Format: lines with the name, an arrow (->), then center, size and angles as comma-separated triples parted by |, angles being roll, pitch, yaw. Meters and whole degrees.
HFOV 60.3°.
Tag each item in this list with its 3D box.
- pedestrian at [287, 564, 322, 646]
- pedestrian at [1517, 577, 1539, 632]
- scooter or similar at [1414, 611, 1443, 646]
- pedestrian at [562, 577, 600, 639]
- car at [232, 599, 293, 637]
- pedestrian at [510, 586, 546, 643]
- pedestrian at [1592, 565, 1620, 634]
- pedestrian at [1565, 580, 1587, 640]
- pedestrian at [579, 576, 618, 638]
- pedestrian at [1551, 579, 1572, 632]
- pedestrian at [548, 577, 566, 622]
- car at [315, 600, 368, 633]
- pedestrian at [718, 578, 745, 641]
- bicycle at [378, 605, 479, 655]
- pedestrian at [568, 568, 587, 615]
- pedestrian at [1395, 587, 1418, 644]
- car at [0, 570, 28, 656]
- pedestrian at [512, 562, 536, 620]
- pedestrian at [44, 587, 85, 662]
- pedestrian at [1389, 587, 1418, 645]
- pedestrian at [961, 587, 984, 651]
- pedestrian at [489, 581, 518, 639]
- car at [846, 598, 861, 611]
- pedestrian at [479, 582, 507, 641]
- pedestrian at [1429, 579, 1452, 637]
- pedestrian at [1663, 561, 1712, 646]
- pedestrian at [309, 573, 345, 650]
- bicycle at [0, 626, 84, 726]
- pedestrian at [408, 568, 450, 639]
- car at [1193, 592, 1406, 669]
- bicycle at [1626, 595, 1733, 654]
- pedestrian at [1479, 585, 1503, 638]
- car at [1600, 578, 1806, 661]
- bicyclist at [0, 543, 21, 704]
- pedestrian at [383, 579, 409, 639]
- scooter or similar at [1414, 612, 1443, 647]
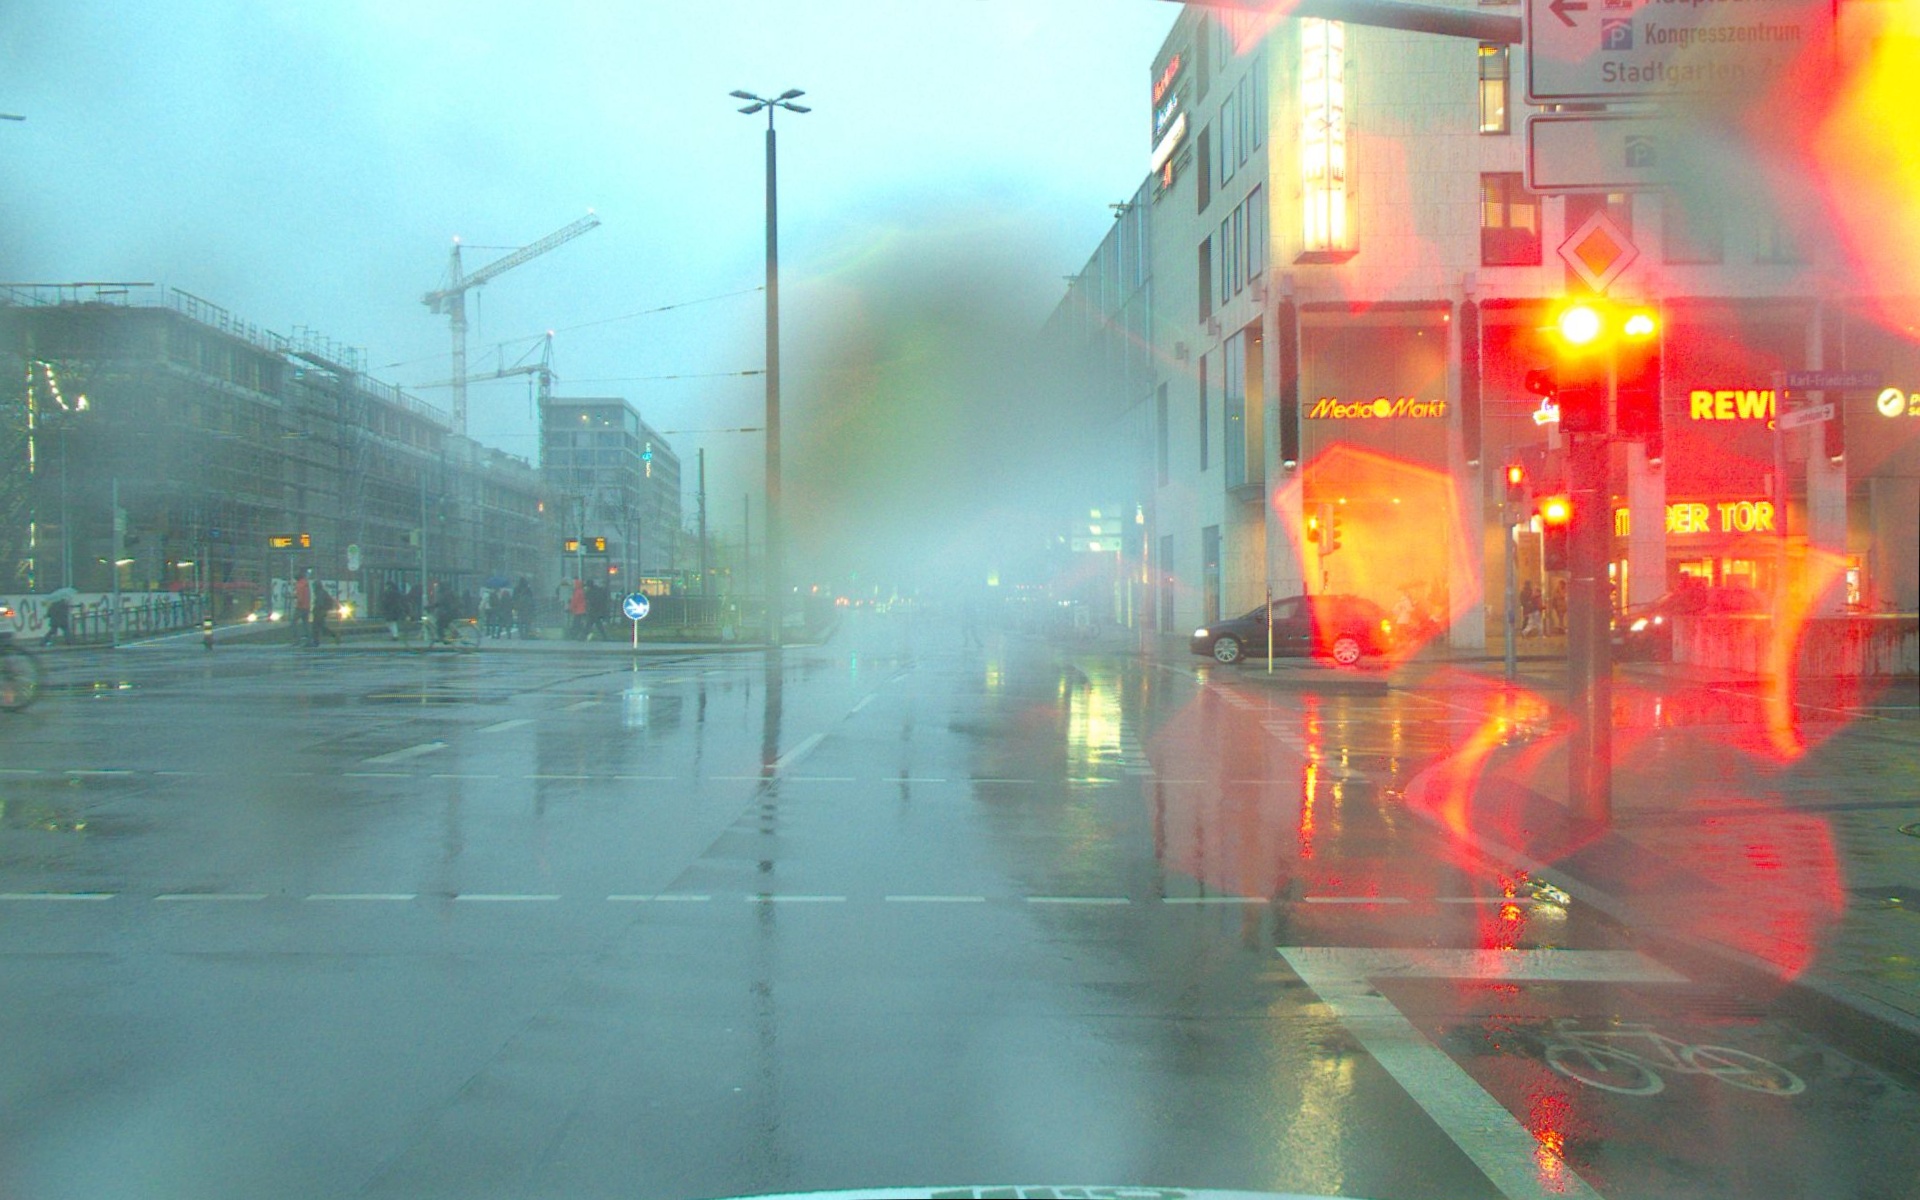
pedestrian -> -17.270, 0.135, 43.576 | 0.682, 2.124, 0.604 | 0, 0, -41
pedestrian -> 18.271, 0.138, 53.155 | 0.526, 1.748, 0.500 | -1, 0, 37
scooter or similar -> 13.685, 0.829, 48.294 | 0.726, 1.011, 0.400 | -1, 0, -1
pedestrian -> -10.502, 0.224, 45.824 | 0.814, 1.709, 0.619 | -1, 0, 27
car -> -38.865, 0.973, 92.289 | 1.954, 2.049, 3.996 | -1, 0, -4
pedestrian -> -12.533, 0.416, 47.975 | 0.737, 1.635, 0.801 | -1, 0, -37
pedestrian -> 16.298, -0.005, 41.728 | 0.526, 1.715, 0.547 | -1, 0, 37
pedestrian -> 18.784, 0.304, 50.435 | 0.501, 1.791, 0.374 | -1, 0, -1
pedestrian -> -10.144, 0.201, 46.458 | 0.825, 1.718, 0.677 | -1, 0, 22
pedestrian -> 20.199, 0.185, 55.497 | 0.526, 1.748, 0.500 | -1, 0, 37
pedestrian -> -16.026, -0.034, 65.727 | 0.599, 1.776, 0.620 | -1, 0, -6
car -> -39.693, 1.017, 106.261 | 1.953, 2.049, 3.999 | -1, 0, -1
pedestrian -> -6.567, 0.270, 47.534 | 0.688, 1.791, 0.652 | -1, 0, -1
bicycle -> -12.130, 0.689, 37.816 | 2.089, 1.009, 0.540 | 3, -5, -10
pedestrian -> -14.658, -0.330, 63.418 | 0.648, 1.776, 0.734 | -1, 0, -11
pedestrian -> 13.617, 0.468, 50.430 | 0.526, 1.748, 0.500 | -1, 0, 37
car -> -21.951, 0.296, 34.323 | 4.215, 1.792, 1.707 | -1, 0, -1
pedestrian -> -13.544, -0.278, 51.376 | 0.607, 1.776, 0.612 | -1, 0, -6
pedestrian -> -25.027, 0.676, 46.231 | 0.778, 2.049, 0.745 | -1, 0, -11
pedestrian -> 12.949, 0.467, 48.283 | 0.726, 1.696, 0.400 | -1, 0, -1
pedestrian -> 0.357, 0.539, 47.301 | 0.620, 1.803, 0.483 | -1, 0, -2
pedestrian -> -13.140, 0.284, 47.613 | 0.606, 1.647, 0.700 | -1, 0, -34
car -> -14.803, 0.643, 229.376 | 1.850, 1.814, 3.713 | 1, -1, -1
pedestrian -> -14.130, 0.355, 50.088 | 0.605, 1.776, 0.613 | -1, 0, 7
pedestrian -> 14.661, 0.243, 50.443 | 0.526, 1.748, 0.500 | -1, 0, 37
pedestrian -> 13.992, 0.070, 31.824 | 0.764, 1.623, 0.613 | -1, 0, 14
pedestrian -> -17.037, 0.295, 44.515 | 0.770, 2.049, 0.604 | -1, 0, -39
bicycle -> -10.866, 0.834, 17.929 | 2.328, 1.051, 0.616 | -1, 0, -8
pedestrian -> -12.143, 0.090, 37.837 | 0.800, 1.598, 0.535 | 1, -3, -11
car -> 7.434, 0.657, 36.170 | 4.440, 1.601, 1.798 | -1, 0, 14
bicycle -> 13.842, 0.465, 31.855 | 1.806, 1.112, 0.618 | -1, 0, 14
pedestrian -> 15.904, 0.347, 49.517 | 0.526, 1.570, 0.500 | -1, 0, 37
car -> 15.335, 0.403, 34.256 | 3.498, 1.610, 1.675 | -1, -1, -3
bicyclist -> -10.869, 0.261, 17.936 | 1.014, 1.726, 0.616 | -1, 0, -8
pedestrian -> -15.732, 0.250, 46.130 | 0.668, 1.647, 0.705 | -1, 0, -18
scooter or similar -> 13.661, 0.866, 48.246 | 0.726, 1.011, 0.400 | -1, 0, 0
